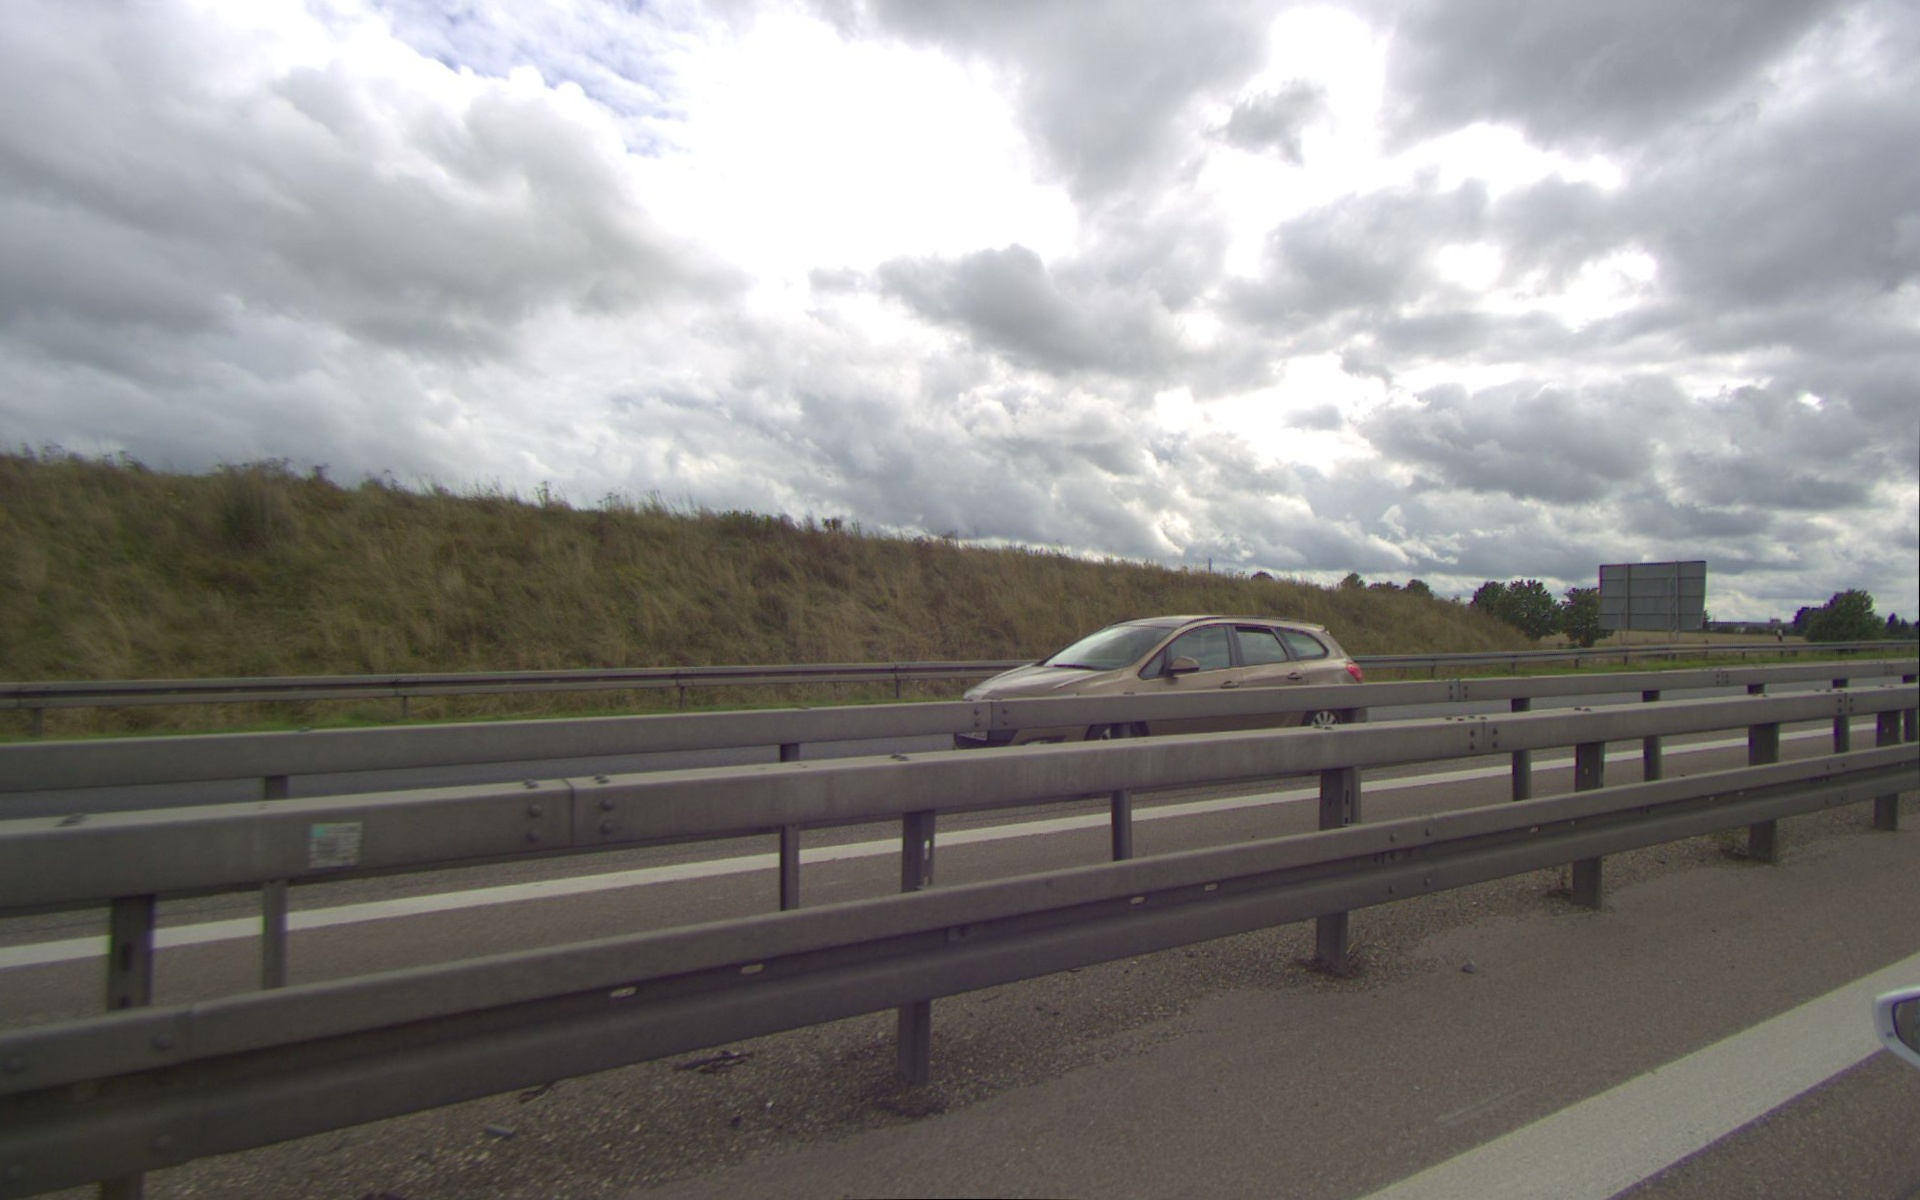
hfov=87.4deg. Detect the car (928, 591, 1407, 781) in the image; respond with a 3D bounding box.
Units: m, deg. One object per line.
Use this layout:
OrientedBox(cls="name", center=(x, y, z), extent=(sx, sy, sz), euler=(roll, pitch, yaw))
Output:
OrientedBox(cls="car", center=(2.182, 0.783, 10.127), extent=(4.674, 1.533, 1.897), euler=(2, -2, -30))
